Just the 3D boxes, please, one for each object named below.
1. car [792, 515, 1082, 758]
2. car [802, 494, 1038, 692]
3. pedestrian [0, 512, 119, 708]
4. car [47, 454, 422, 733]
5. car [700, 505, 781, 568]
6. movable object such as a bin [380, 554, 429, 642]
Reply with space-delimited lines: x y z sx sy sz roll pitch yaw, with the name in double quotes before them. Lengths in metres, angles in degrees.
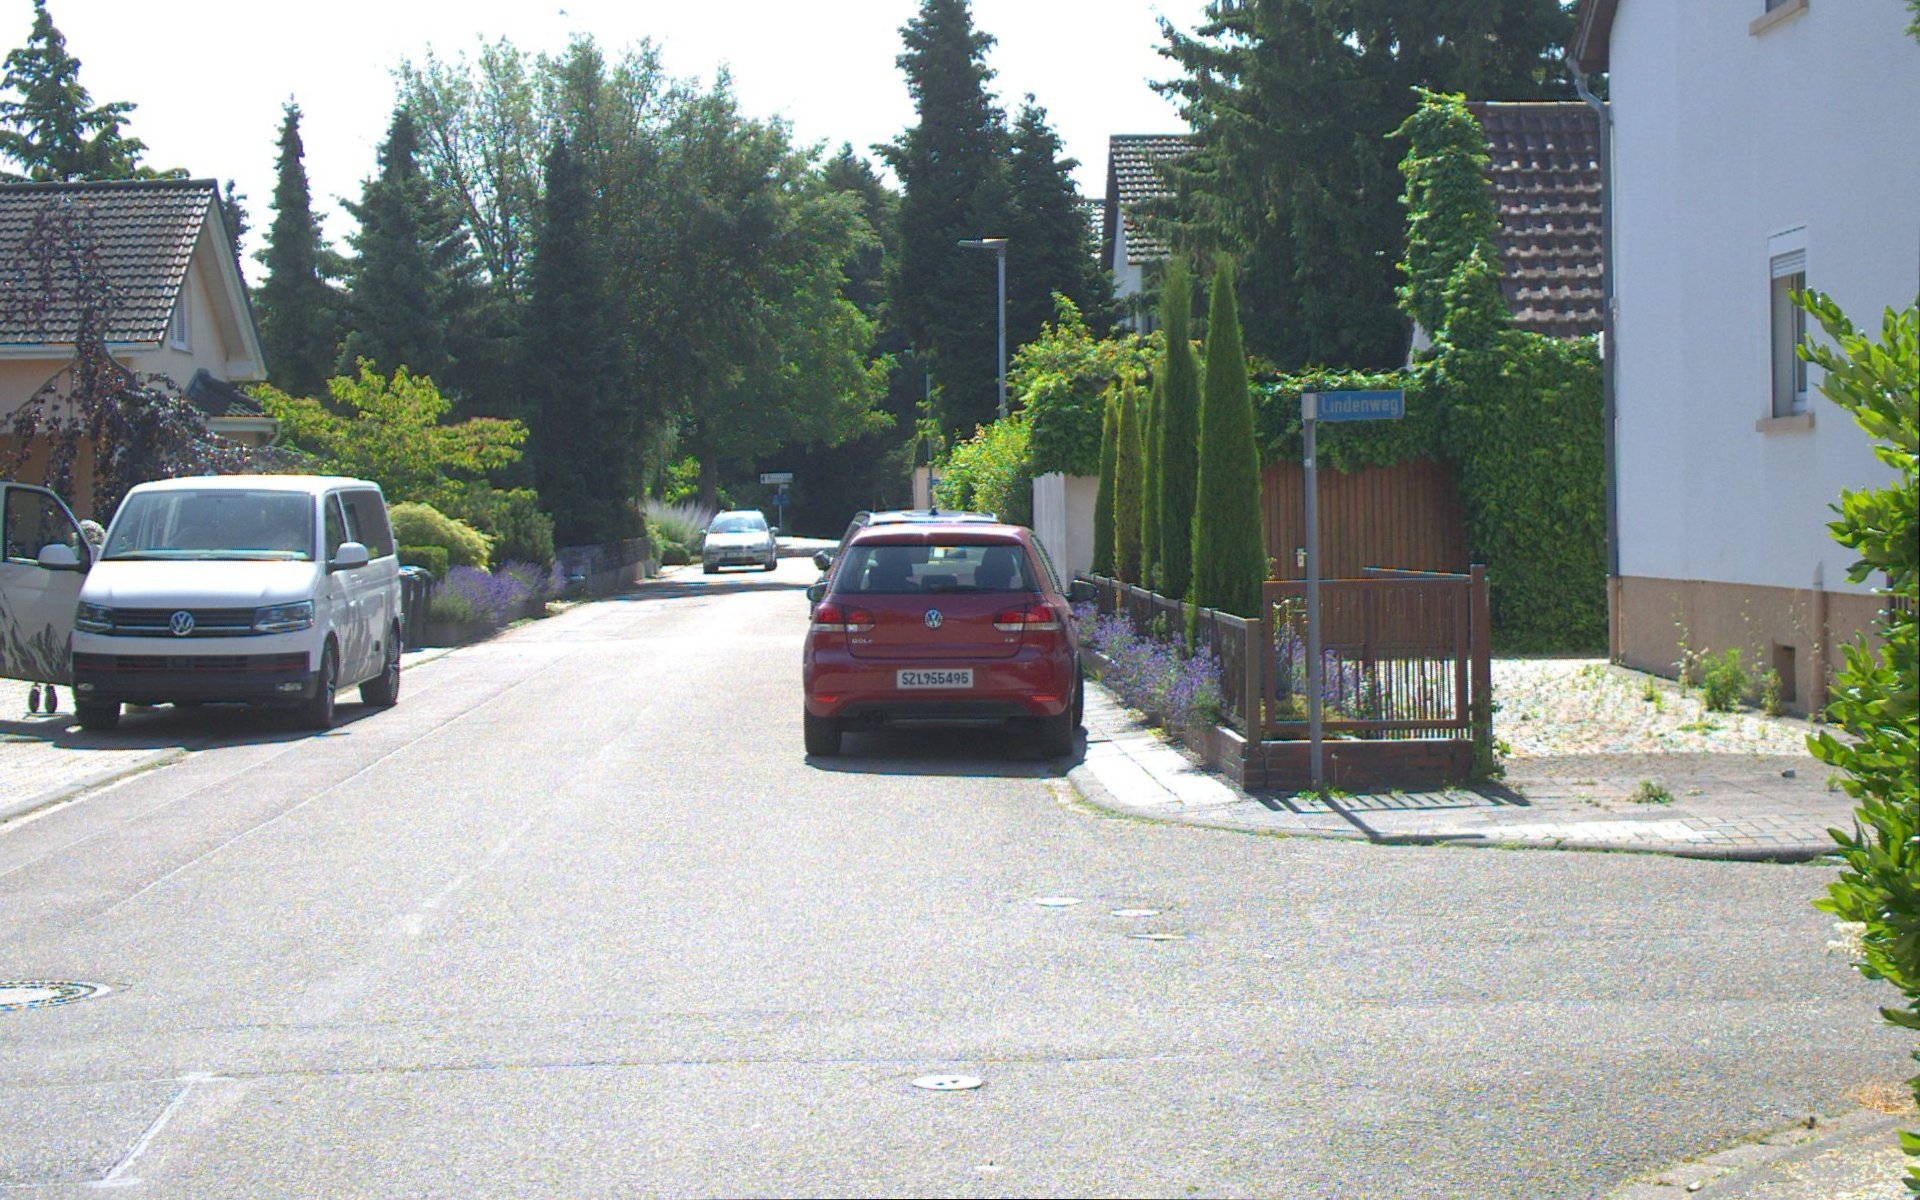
"car" -0.084 0.177 23.253 1.775 1.474 4.000 1 1 2
"car" -0.417 -0.111 30.093 1.822 1.610 4.001 0 1 -4
"pedestrian" -7.208 0.067 27.405 0.718 1.533 0.641 1 2 32
"car" -5.667 -0.113 27.504 1.929 2.007 4.896 -1 1 0
"car" -5.416 -1.593 85.160 1.752 1.482 4.376 -1 2 -1
"movable object such as a bin" -6.569 -0.026 40.666 0.494 1.021 0.447 -1 2 -1
